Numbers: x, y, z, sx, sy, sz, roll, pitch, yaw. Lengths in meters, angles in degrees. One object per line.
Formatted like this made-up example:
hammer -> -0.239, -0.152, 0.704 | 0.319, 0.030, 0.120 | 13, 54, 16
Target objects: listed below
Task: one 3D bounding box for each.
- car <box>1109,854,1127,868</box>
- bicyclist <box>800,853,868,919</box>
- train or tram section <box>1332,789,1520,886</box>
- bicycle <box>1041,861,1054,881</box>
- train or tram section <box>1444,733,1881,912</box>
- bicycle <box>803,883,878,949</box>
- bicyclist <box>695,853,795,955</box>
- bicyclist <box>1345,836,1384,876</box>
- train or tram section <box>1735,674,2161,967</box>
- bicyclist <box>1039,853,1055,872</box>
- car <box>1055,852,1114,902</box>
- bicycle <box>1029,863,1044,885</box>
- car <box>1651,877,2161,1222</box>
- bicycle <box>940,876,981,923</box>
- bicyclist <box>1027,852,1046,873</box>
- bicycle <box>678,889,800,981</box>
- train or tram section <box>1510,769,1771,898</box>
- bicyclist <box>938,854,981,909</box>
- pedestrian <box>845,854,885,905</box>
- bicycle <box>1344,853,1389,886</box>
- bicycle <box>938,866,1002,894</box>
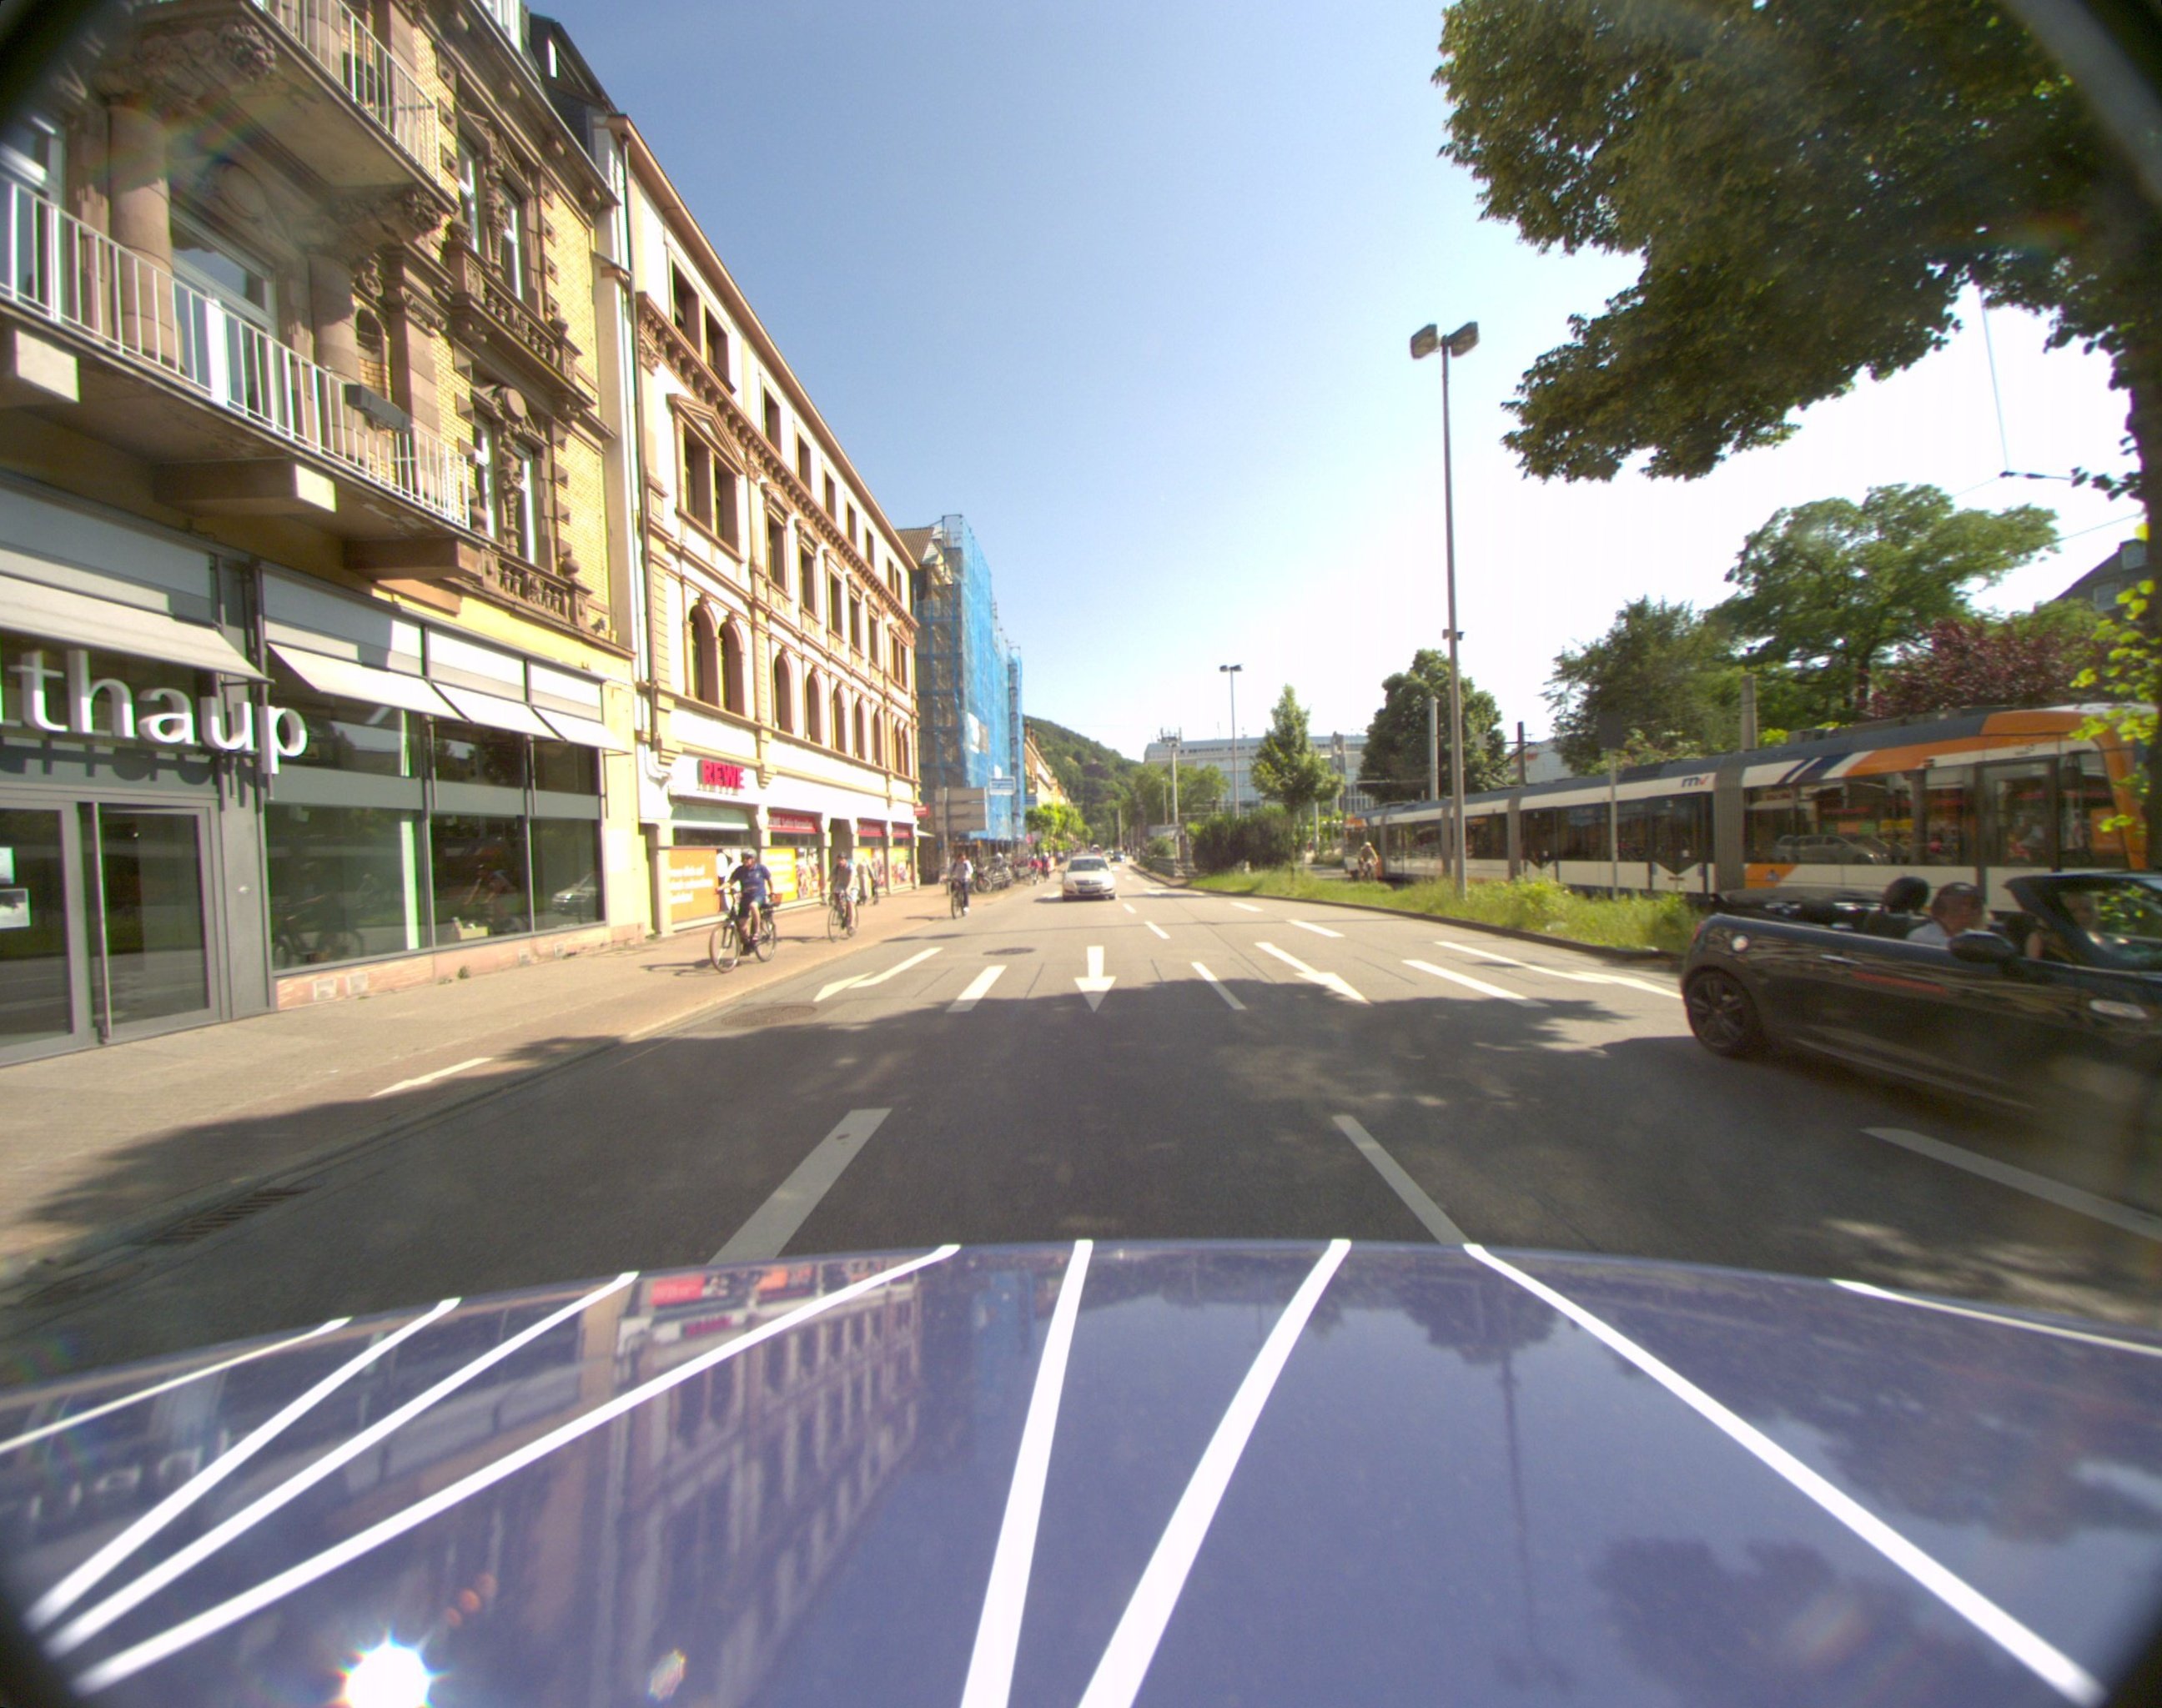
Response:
car -> 4.630, 0.861, 96.138 | 1.998, 1.547, 4.497 | -1, 0, 0
bicyclist -> -4.861, 0.606, 15.037 | 0.912, 1.227, 1.232 | -1, 1, 0
train or tram section -> 14.325, -0.624, 33.214 | 2.766, 3.384, 12.411 | -1, 0, 1
bicycle -> -2.009, 1.017, 45.957 | 0.643, 1.076, 2.496 | -1, 0, 0
train or tram section -> 14.129, -0.642, 20.791 | 2.766, 3.384, 12.412 | -1, 0, 2
bicycle -> -4.673, 1.171, 14.961 | 0.643, 1.076, 2.496 | -1, 0, 0
bicyclist -> -5.022, 0.711, 11.439 | 0.912, 1.428, 1.232 | -1, 1, 0
bicyclist -> 10.199, 0.057, 27.352 | 0.912, 1.385, 1.232 | -1, 1, 0
train or tram section -> 13.878, -0.435, 11.583 | 2.767, 3.384, 5.886 | -1, 1, 0
bicyclist -> -2.048, 0.493, 45.779 | 0.912, 1.077, 1.232 | -1, 1, 0
car -> 0.132, 0.718, 26.051 | 1.802, 1.492, 4.497 | -1, 0, 0
bicycle -> -2.373, 1.039, 40.786 | 0.643, 1.076, 2.496 | -1, 0, 0
car -> 5.228, 0.849, 3.919 | 1.637, 1.301, 3.914 | 0, 0, 0
bicycle -> -3.186, 1.181, 20.295 | 0.643, 1.076, 2.496 | -1, 0, 0
bicyclist -> -2.399, 0.452, 40.841 | 0.912, 1.062, 1.232 | -1, 1, 0
bicycle -> -5.009, 1.139, 11.349 | 0.643, 1.076, 2.496 | -1, 0, 0
train or tram section -> 17.210, -0.552, 24.371 | 2.072, 3.369, 8.533 | -1, 0, 0
bicyclist -> -3.223, 0.705, 20.248 | 0.912, 1.385, 1.232 | -1, 1, 0
pedestrian -> -7.075, 0.819, 24.995 | 0.912, 1.591, 1.232 | -1, 1, 0
bicycle -> 10.213, 0.531, 27.279 | 0.643, 1.077, 2.496 | -2, 1, 0
bicycle -> -4.536, 1.071, 31.038 | 2.493, 1.077, 0.644 | -1, 1, 5
